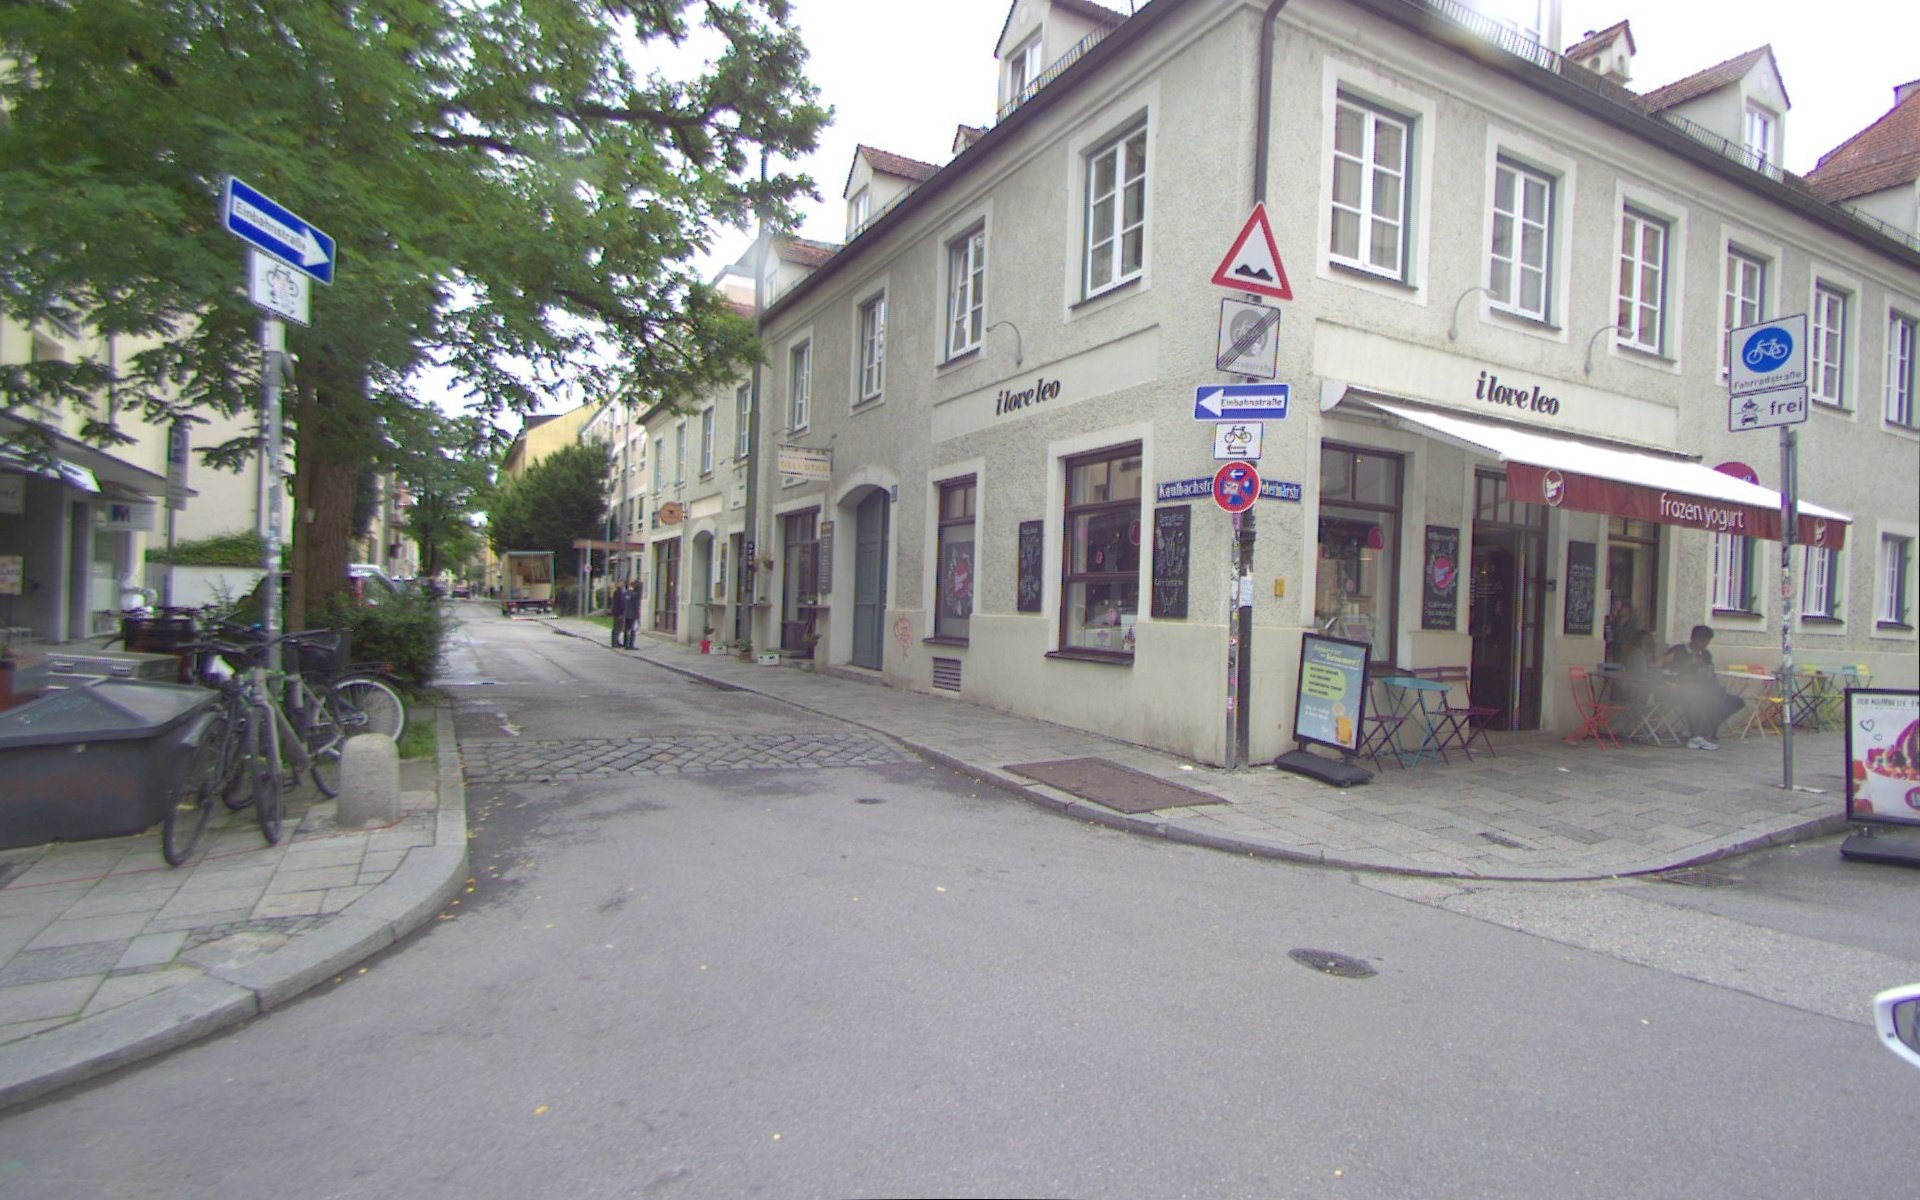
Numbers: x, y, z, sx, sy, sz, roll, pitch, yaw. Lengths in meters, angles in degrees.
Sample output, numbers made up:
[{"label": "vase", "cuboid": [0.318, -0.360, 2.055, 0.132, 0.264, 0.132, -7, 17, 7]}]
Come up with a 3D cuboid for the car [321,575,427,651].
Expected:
[{"label": "car", "cuboid": [-13.769, 0.253, 23.804, 1.751, 1.617, 4.141, -2, 1, -25]}]

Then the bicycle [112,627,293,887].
[{"label": "bicycle", "cuboid": [-3.991, 0.729, 5.399, 0.386, 1.049, 1.812, 1, 2, -24]}]

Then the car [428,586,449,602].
[{"label": "car", "cuboid": [-54.076, -0.658, 104.173, 1.751, 1.617, 4.141, -2, 1, -25]}]

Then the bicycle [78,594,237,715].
[{"label": "bicycle", "cuboid": [-9.027, 0.594, 11.427, 0.806, 1.227, 2.360, 3, -2, -25]}]

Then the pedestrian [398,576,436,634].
[{"label": "pedestrian", "cuboid": [-15.517, 0.153, 28.723, 0.563, 1.602, 0.681, 2, -1, 24]}]

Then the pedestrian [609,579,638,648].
[{"label": "pedestrian", "cuboid": [-8.767, 0.360, 26.159, 0.524, 1.752, 0.552, 3, -1, -30]}]

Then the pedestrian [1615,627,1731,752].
[{"label": "pedestrian", "cuboid": [7.918, 0.974, 11.167, 0.685, 1.307, 0.800, 3, -1, -28]}]

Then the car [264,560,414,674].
[{"label": "car", "cuboid": [-11.591, 0.253, 19.054, 1.881, 1.870, 4.433, -2, 1, -25]}]

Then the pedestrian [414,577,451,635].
[{"label": "pedestrian", "cuboid": [-14.961, 0.176, 28.500, 0.563, 1.618, 0.681, 2, -1, 25]}]

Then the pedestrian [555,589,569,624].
[{"label": "pedestrian", "cuboid": [-20.299, 0.336, 51.248, 0.550, 1.752, 0.527, 3, -1, -27]}]

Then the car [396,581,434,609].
[{"label": "car", "cuboid": [-32.822, -0.320, 60.556, 1.751, 1.617, 4.141, -2, 1, -25]}]

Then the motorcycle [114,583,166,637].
[{"label": "motorcycle", "cuboid": [-18.128, 0.206, 22.238, 0.456, 1.099, 1.833, 3, 1, -26]}]

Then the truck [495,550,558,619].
[{"label": "truck", "cuboid": [-22.612, -0.749, 52.220, 2.547, 3.236, 6.693, 3, -1, -26]}]

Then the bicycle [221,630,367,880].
[{"label": "bicycle", "cuboid": [-3.633, 0.750, 5.574, 0.386, 1.049, 1.812, 1, 2, -24]}]

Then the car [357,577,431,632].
[{"label": "car", "cuboid": [-18.222, 0.123, 32.482, 1.751, 1.617, 4.141, -2, 1, -25]}]

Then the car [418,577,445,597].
[{"label": "car", "cuboid": [-44.615, -1.055, 84.844, 1.751, 1.617, 4.141, -2, 1, -25]}]

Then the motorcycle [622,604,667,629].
[{"label": "motorcycle", "cuboid": [-12.257, 0.649, 39.040, 1.617, 0.885, 0.410, 3, -1, -30]}]

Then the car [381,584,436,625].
[{"label": "car", "cuboid": [-23.357, 0.170, 42.662, 1.751, 1.617, 4.141, -2, 1, -25]}]

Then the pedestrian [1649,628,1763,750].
[{"label": "pedestrian", "cuboid": [8.542, 1.001, 11.516, 0.685, 1.307, 0.800, 3, -1, -28]}]

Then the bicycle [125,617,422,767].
[{"label": "bicycle", "cuboid": [-4.880, 0.654, 7.260, 1.697, 0.978, 0.377, 3, 1, -32]}]

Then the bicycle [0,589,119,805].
[{"label": "bicycle", "cuboid": [-6.347, 0.591, 6.353, 0.806, 1.227, 2.834, 3, 1, -25]}]

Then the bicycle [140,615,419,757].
[{"label": "bicycle", "cuboid": [-5.129, 0.649, 7.685, 1.697, 0.978, 0.377, 3, 1, -32]}]

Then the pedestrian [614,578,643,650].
[{"label": "pedestrian", "cuboid": [-8.447, 0.361, 25.602, 0.524, 1.810, 0.488, 3, -1, -30]}]
